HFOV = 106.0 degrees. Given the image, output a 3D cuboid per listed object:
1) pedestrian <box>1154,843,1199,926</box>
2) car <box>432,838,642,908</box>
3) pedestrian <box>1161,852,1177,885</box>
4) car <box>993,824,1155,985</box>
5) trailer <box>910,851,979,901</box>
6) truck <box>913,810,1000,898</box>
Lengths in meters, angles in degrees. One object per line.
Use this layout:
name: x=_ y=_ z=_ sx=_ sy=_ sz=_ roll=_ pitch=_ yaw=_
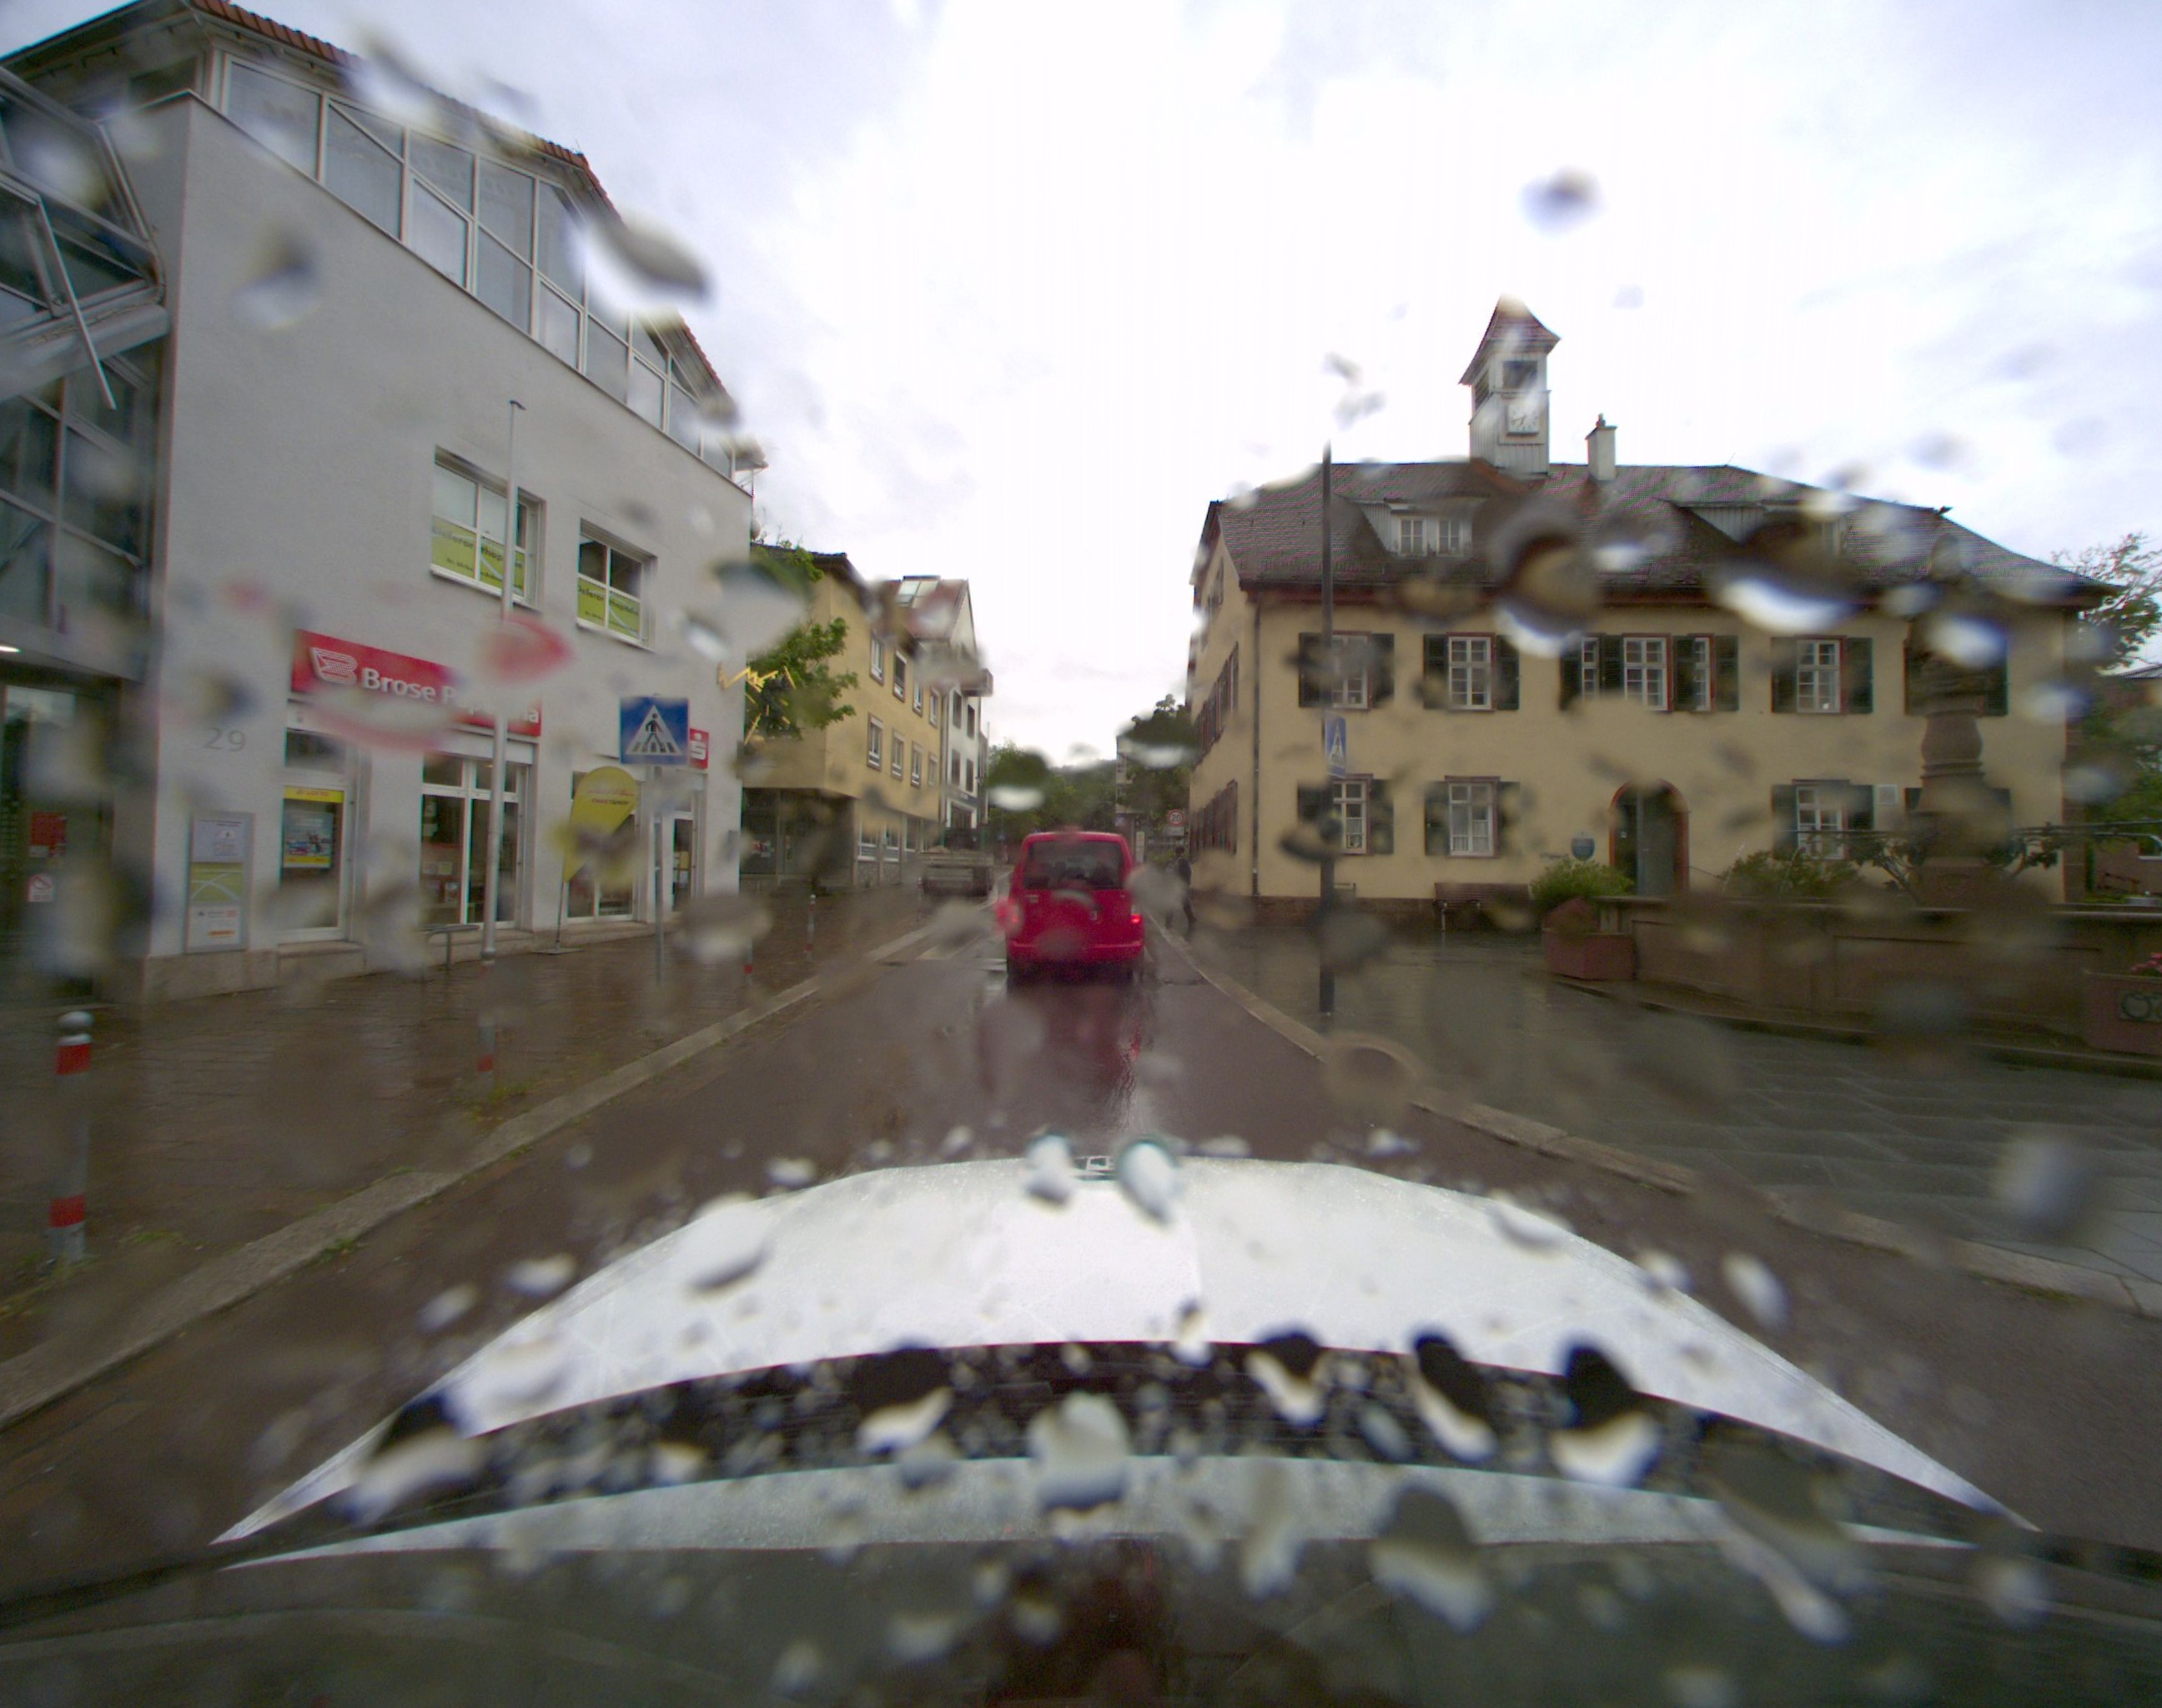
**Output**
pedestrian: x=2.029 y=0.615 z=17.194 sx=0.708 sy=1.693 sz=0.872 roll=0 pitch=0 yaw=23
car: x=-12.956 y=0.430 z=19.496 sx=3.960 sy=1.564 sz=1.972 roll=0 pitch=0 yaw=12
pedestrian: x=4.321 y=0.708 z=39.901 sx=0.725 sy=1.617 sz=0.694 roll=0 pitch=-1 yaw=4
car: x=-0.161 y=0.585 z=11.484 sx=1.857 sy=1.830 sz=4.181 roll=-1 pitch=0 yaw=-2
trailer: x=-4.010 y=0.606 z=24.392 sx=1.724 sy=1.346 sz=3.156 roll=0 pitch=1 yaw=-4
truck: x=-4.296 y=-0.059 z=29.239 sx=2.468 sy=2.795 sz=6.591 roll=0 pitch=1 yaw=-4
